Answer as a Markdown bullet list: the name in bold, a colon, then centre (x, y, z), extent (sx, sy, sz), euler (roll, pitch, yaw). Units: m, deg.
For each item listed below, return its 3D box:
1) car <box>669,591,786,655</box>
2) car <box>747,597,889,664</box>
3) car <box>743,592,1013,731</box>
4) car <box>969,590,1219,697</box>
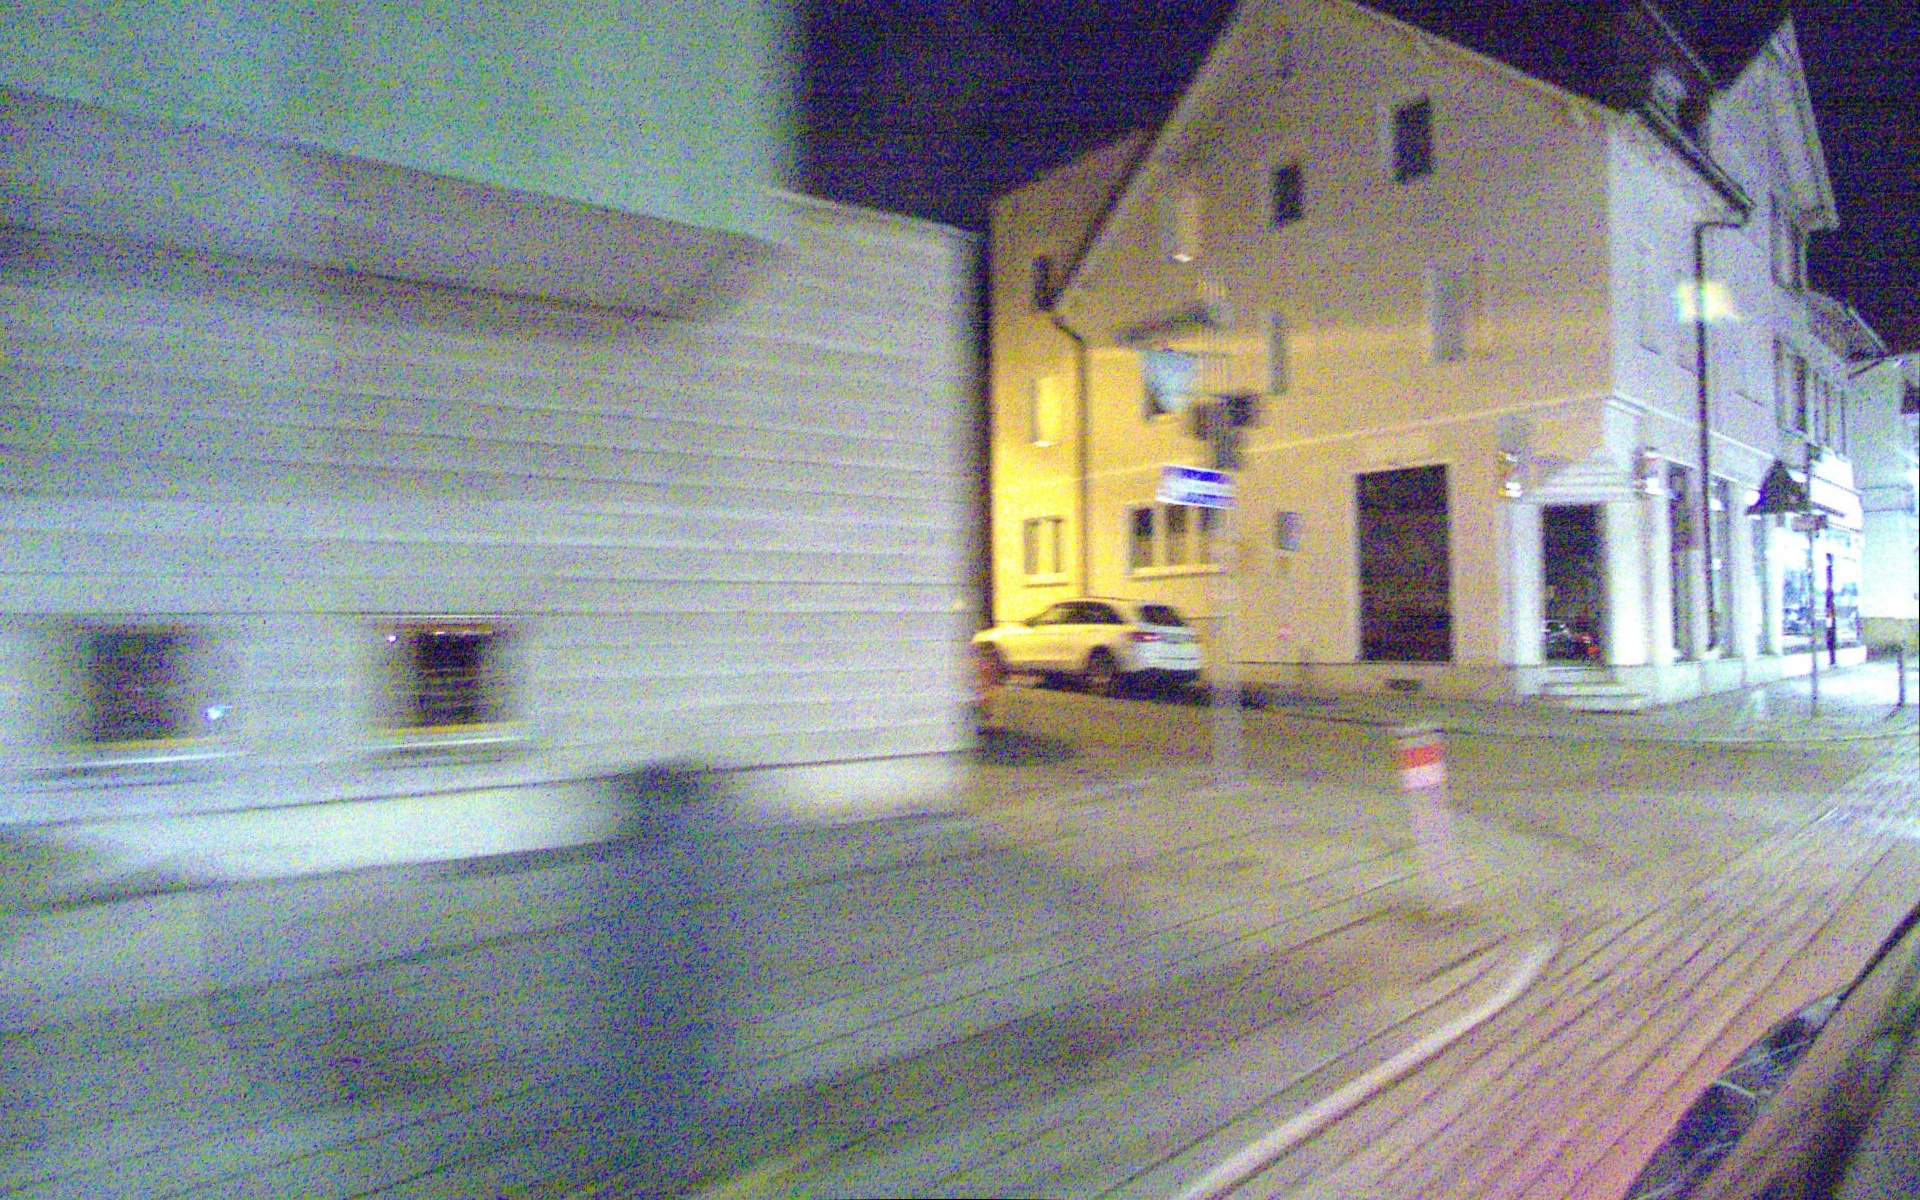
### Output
- **car**: centre (-6.765, 0.631, 29.195), extent (1.667, 1.687, 3.943), euler (4, -2, -39)
- **car**: centre (-3.594, 0.730, 25.182), extent (1.667, 1.500, 3.943), euler (4, -2, -39)
- **car**: centre (-1.169, 0.660, 13.034), extent (1.695, 1.460, 3.621), euler (0, 2, -40)
- **car**: centre (2.249, 0.692, 17.975), extent (1.865, 1.660, 4.315), euler (2, -1, -39)
